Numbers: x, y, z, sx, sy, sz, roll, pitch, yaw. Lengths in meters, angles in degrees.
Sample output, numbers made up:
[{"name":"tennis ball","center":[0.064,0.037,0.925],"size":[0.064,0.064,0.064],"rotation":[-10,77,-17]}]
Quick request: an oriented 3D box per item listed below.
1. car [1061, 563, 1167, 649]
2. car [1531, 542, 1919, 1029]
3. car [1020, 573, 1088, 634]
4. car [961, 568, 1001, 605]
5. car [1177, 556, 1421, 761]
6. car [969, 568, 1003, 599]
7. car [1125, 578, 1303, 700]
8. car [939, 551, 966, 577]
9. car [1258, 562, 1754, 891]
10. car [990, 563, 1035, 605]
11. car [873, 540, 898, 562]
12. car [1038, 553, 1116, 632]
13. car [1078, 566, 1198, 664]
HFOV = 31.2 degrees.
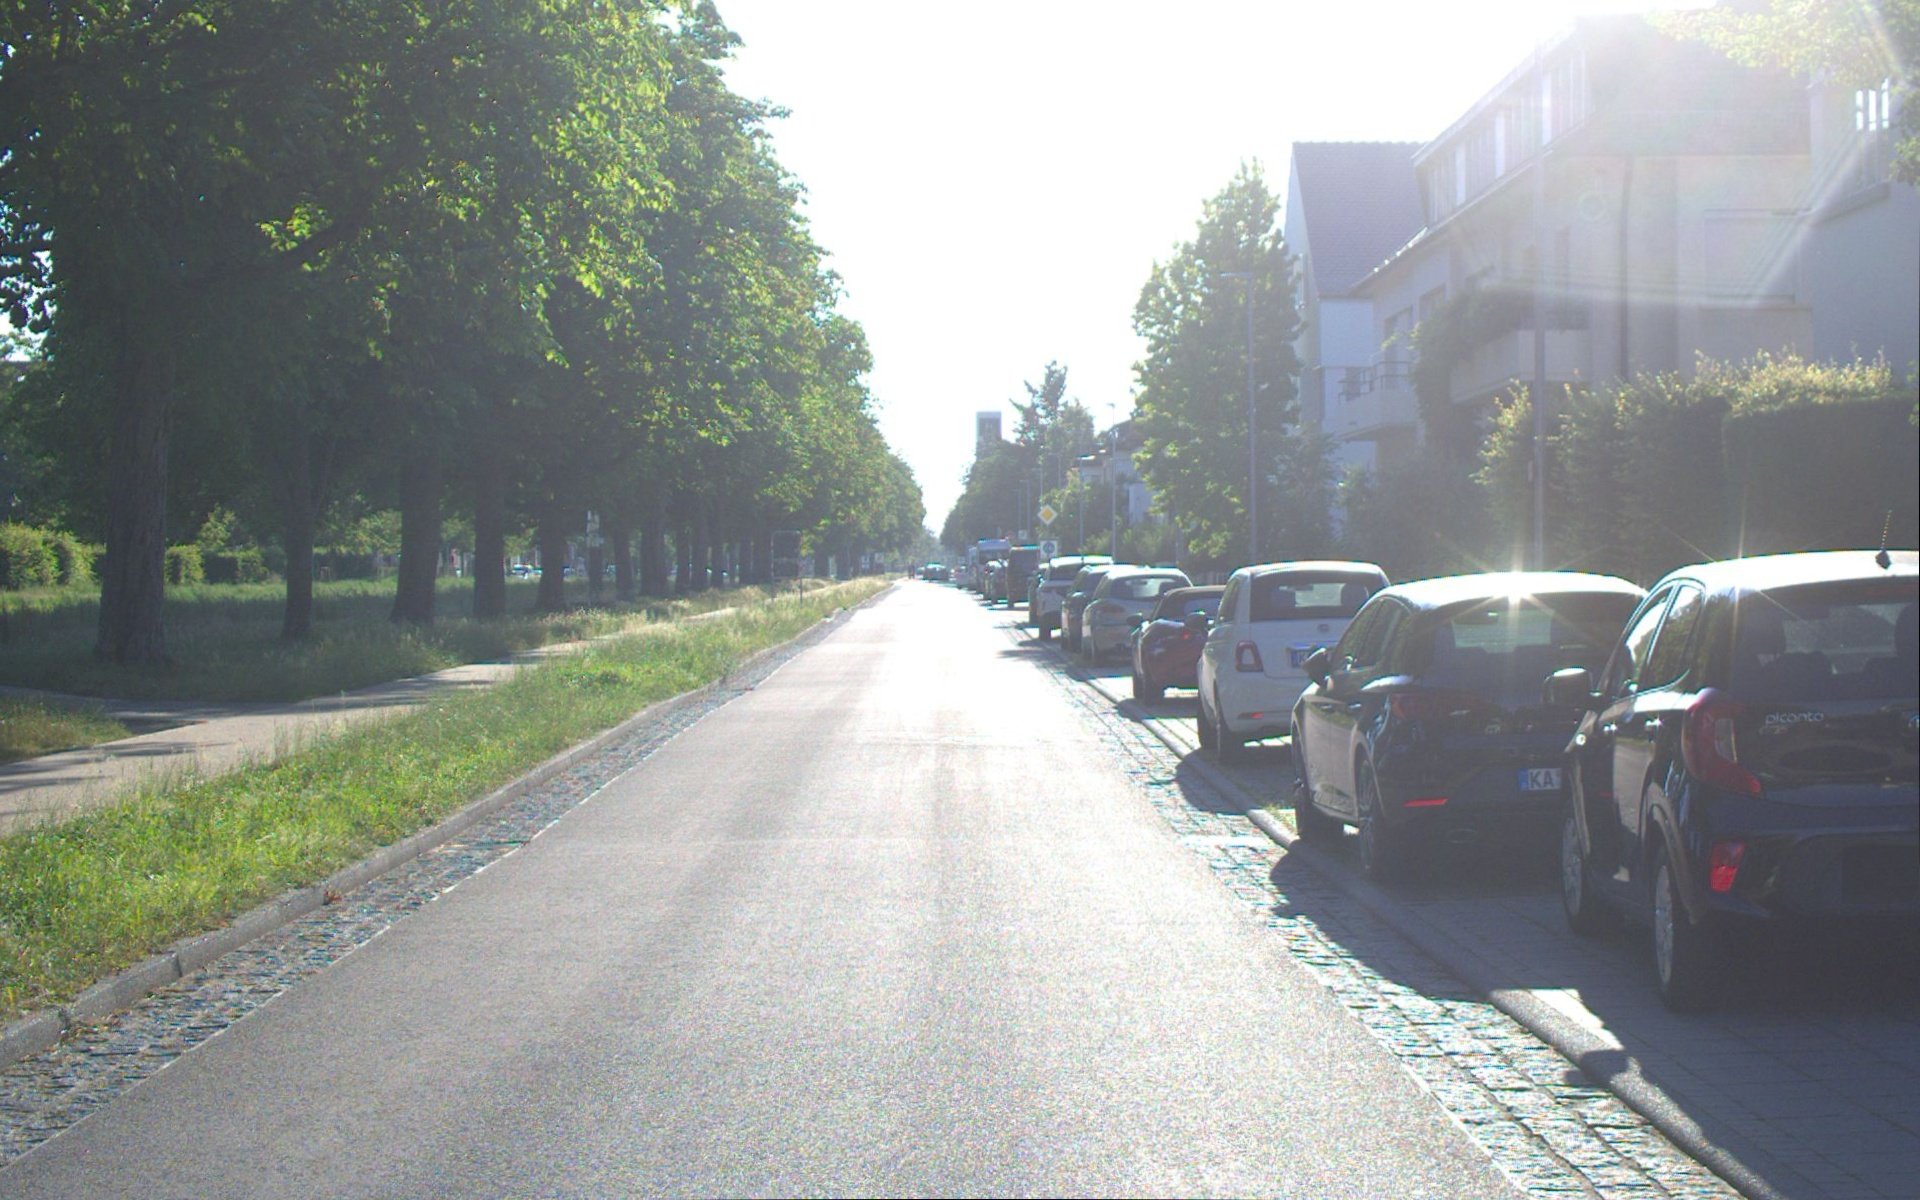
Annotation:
[{"name":"car","center":[2.534,0.083,56.987],"size":[1.652,1.392,3.266],"rotation":[0,0,1]},{"name":"car","center":[3.114,0.559,12.441],"size":[1.658,1.489,3.715],"rotation":[-1,0,3]},{"name":"car","center":[2.232,0.074,82.465],"size":[1.594,1.429,3.266],"rotation":[0,0,1]},{"name":"car","center":[0.917,-0.588,149.162],"size":[1.652,1.536,3.266],"rotation":[1,0,1]},{"name":"car","center":[2.605,0.415,27.082],"size":[1.592,1.505,3.591],"rotation":[0,0,0]},{"name":"car","center":[1.320,-0.826,175.246],"size":[1.652,1.536,3.266],"rotation":[1,0,1]},{"name":"car","center":[2.674,0.385,36.793],"size":[1.693,1.244,3.497],"rotation":[0,0,1]},{"name":"car","center":[-0.453,-2.249,214.900],"size":[1.652,1.536,3.266],"rotation":[1,0,0]},{"name":"car","center":[2.646,0.570,17.594],"size":[1.736,1.444,4.197],"rotation":[-1,0,-1]},{"name":"car","center":[1.986,-0.608,131.120],"size":[1.652,1.536,3.266],"rotation":[1,0,1]},{"name":"car","center":[-5.235,-3.435,241.171],"size":[1.652,1.536,3.266],"rotation":[1,0,0]},{"name":"car","center":[2.340,-0.165,69.381],"size":[1.498,1.561,3.266],"rotation":[0,0,1]},{"name":"car","center":[2.594,0.198,50.732],"size":[1.652,1.392,3.266],"rotation":[0,0,1]}]
